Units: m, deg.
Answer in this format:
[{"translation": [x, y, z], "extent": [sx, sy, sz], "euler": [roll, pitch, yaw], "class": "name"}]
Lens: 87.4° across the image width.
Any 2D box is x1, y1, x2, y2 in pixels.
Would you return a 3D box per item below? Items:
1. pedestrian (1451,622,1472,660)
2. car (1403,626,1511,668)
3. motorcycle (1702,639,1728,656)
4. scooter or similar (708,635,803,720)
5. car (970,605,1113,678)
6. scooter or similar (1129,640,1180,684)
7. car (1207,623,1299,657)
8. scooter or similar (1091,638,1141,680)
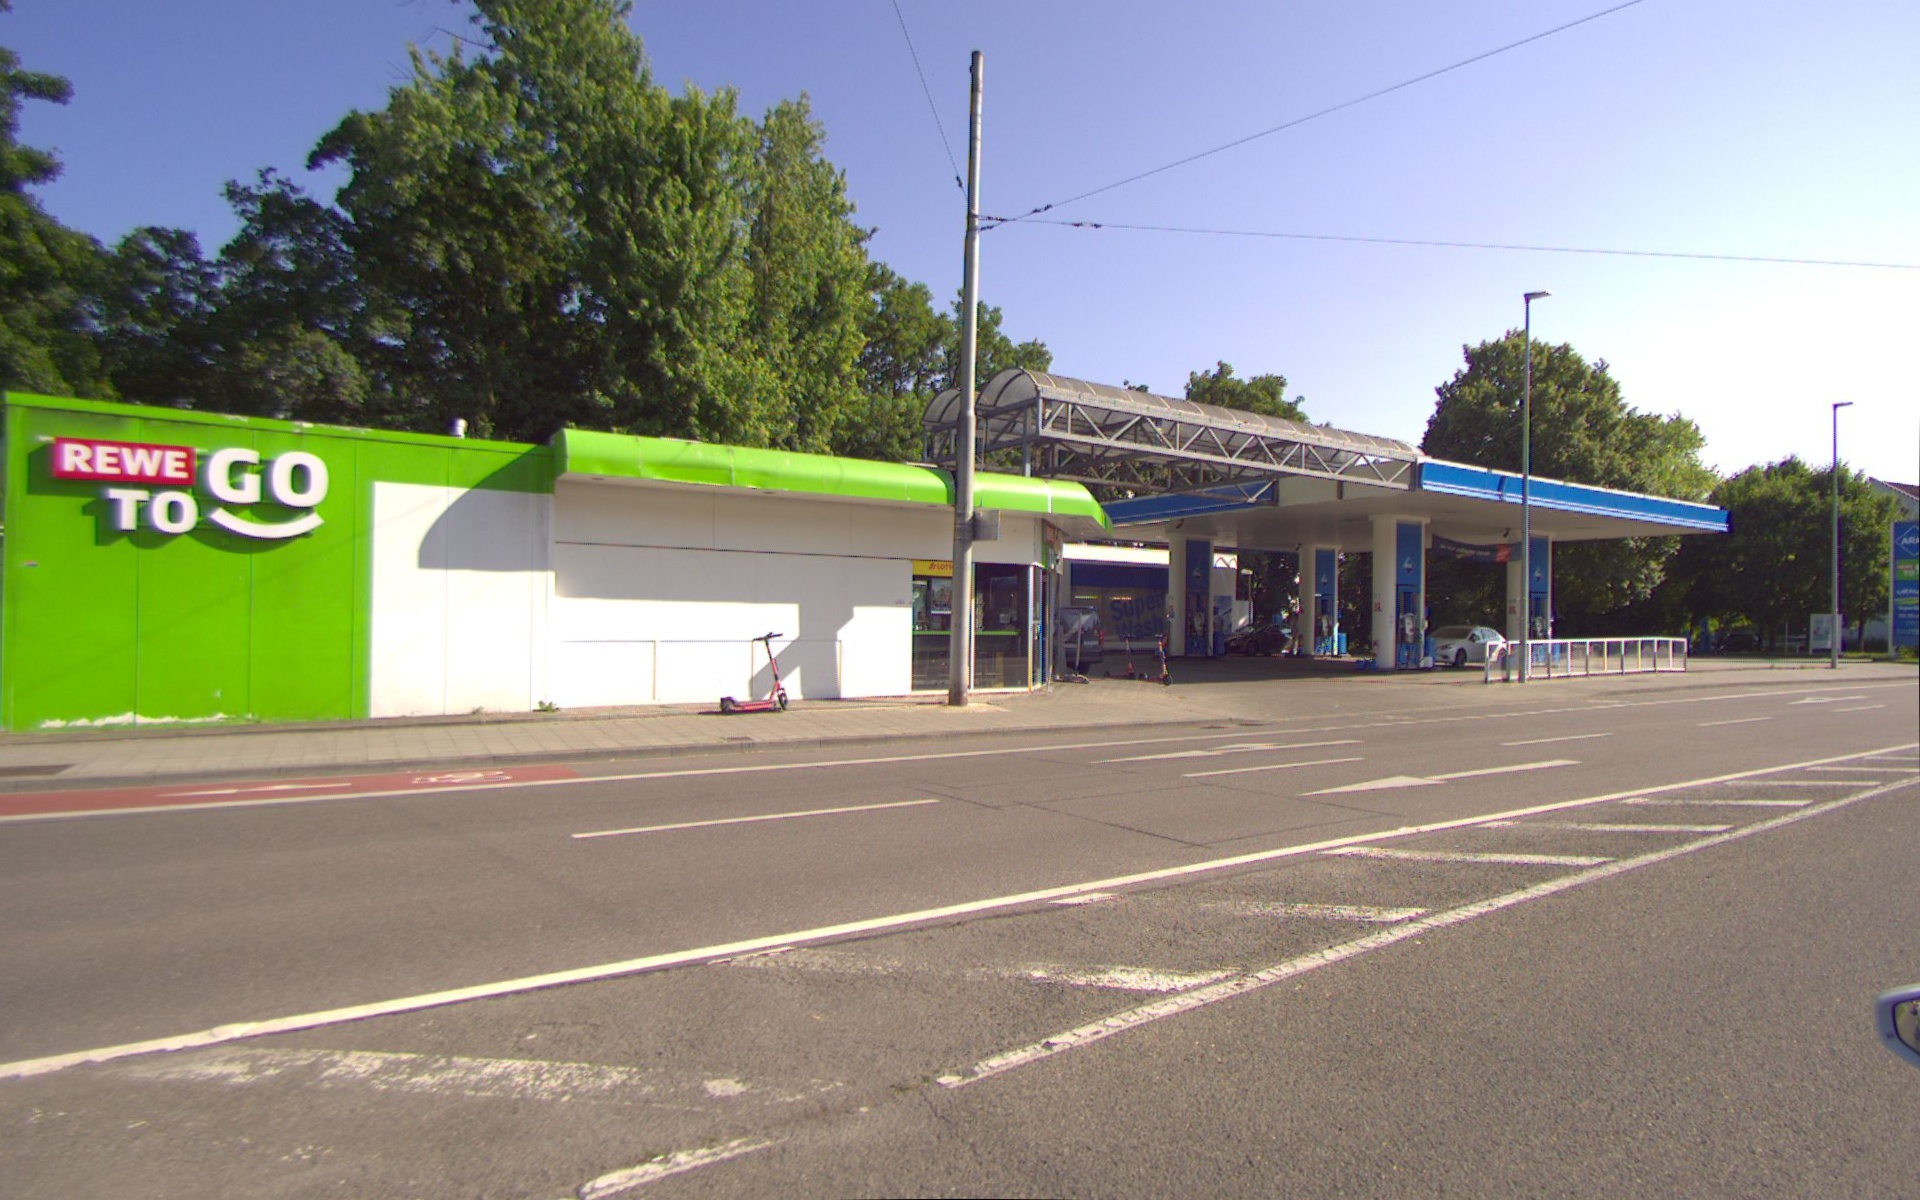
[{"translation": [23.092, 1.872, 46.236], "extent": [0.655, 1.751, 0.844], "euler": [-1, -1, 45], "class": "pedestrian"}, {"translation": [17.869, 1.667, 36.083], "extent": [4.079, 1.412, 1.733], "euler": [1, -1, -35], "class": "car"}, {"translation": [43.125, 2.698, 57.367], "extent": [1.653, 0.913, 0.667], "euler": [1, -1, -33], "class": "motorcycle"}, {"translation": [-3.119, 1.162, 15.336], "extent": [1.294, 1.190, 0.529], "euler": [1, 4, -30], "class": "scooter or similar"}, {"translation": [2.285, 1.169, 29.500], "extent": [1.977, 1.960, 4.515], "euler": [1, -1, -31], "class": "car"}, {"translation": [4.642, 1.462, 24.003], "extent": [0.494, 1.000, 1.252], "euler": [1, -1, -32], "class": "scooter or similar"}, {"translation": [12.830, 1.732, 43.908], "extent": [4.079, 1.412, 1.733], "euler": [1, -1, -35], "class": "car"}, {"translation": [3.899, 1.475, 25.154], "extent": [0.494, 0.998, 1.332], "euler": [1, -1, -32], "class": "scooter or similar"}]
